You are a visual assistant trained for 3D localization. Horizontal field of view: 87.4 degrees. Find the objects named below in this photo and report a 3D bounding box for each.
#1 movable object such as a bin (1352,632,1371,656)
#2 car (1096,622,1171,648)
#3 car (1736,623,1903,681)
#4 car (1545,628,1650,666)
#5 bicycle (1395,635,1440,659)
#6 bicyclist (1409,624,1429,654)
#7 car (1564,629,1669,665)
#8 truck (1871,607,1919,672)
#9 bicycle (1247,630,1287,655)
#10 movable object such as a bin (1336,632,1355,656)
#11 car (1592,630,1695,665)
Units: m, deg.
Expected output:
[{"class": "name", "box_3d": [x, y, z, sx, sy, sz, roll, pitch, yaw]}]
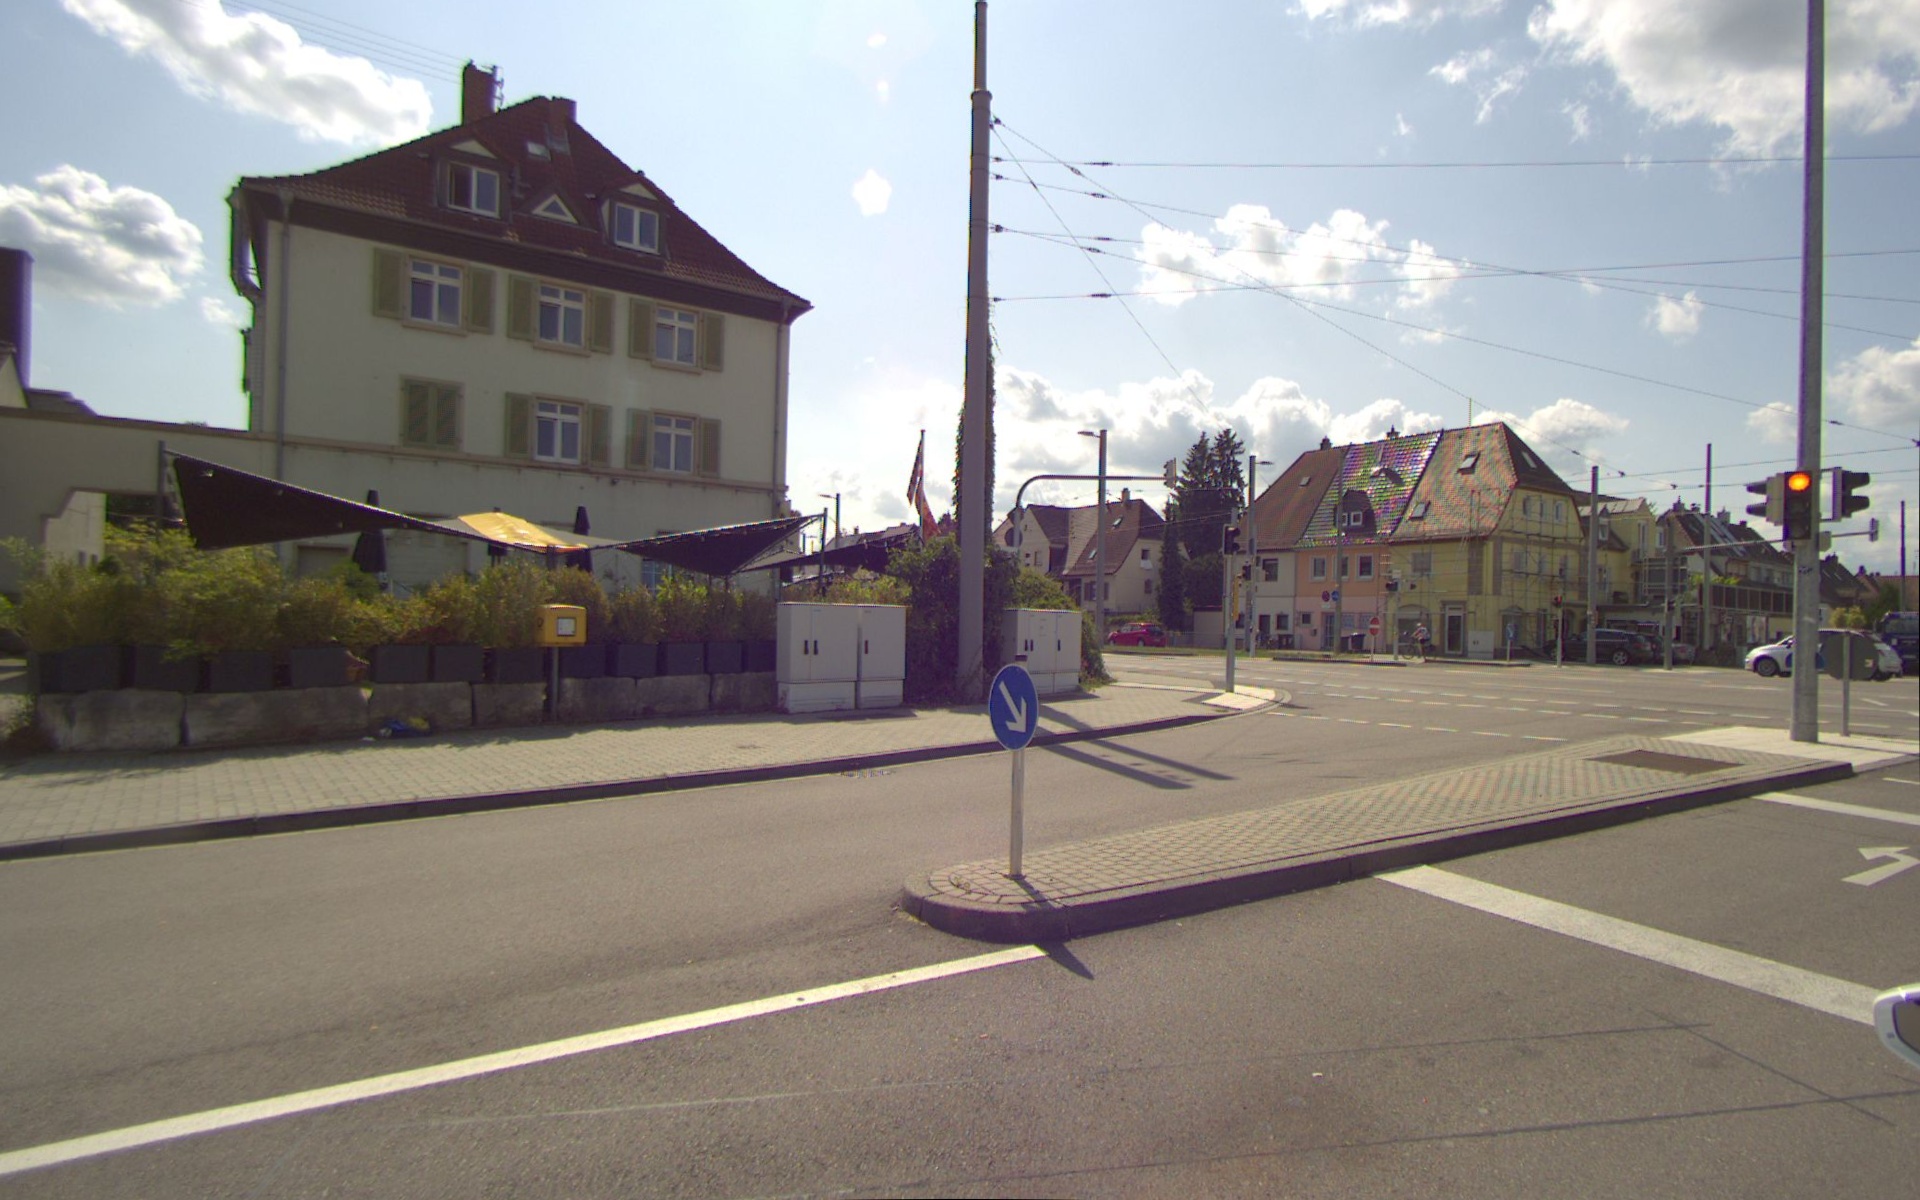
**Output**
[{"class": "movable object such as a bin", "box_3d": [22.035, 2.413, 55.160, 0.674, 1.277, 0.677, 2, 0, -33]}, {"class": "car", "box_3d": [9.509, 1.910, 55.312, 1.902, 1.372, 3.965, 1, -1, -32]}, {"class": "car", "box_3d": [25.678, 1.516, 30.104, 1.569, 1.528, 3.517, 2, 0, -34]}, {"class": "car", "box_3d": [30.755, 2.245, 48.564, 1.168, 1.513, 4.103, 2, 0, -37]}, {"class": "bicycle", "box_3d": [21.946, 2.261, 48.178, 1.876, 1.092, 0.691, 0, -1, 39]}, {"class": "bicyclist", "box_3d": [21.986, 1.883, 48.121, 0.713, 1.416, 0.575, 0, -1, 39]}, {"class": "car", "box_3d": [32.814, 2.313, 50.304, 1.493, 1.513, 4.103, 2, 0, -37]}, {"class": "truck", "box_3d": [50.859, 2.138, 53.155, 7.516, 3.230, 2.747, 3, -2, -38]}, {"class": "bicycle", "box_3d": [18.068, 2.496, 59.090, 2.428, 1.374, 0.770, 2, 0, -29]}, {"class": "movable object such as a bin", "box_3d": [20.908, 2.375, 54.473, 0.674, 1.277, 0.677, 2, 0, -33]}, {"class": "car", "box_3d": [35.103, 2.425, 51.697, 1.422, 1.513, 4.103, 2, 0, -37]}]
